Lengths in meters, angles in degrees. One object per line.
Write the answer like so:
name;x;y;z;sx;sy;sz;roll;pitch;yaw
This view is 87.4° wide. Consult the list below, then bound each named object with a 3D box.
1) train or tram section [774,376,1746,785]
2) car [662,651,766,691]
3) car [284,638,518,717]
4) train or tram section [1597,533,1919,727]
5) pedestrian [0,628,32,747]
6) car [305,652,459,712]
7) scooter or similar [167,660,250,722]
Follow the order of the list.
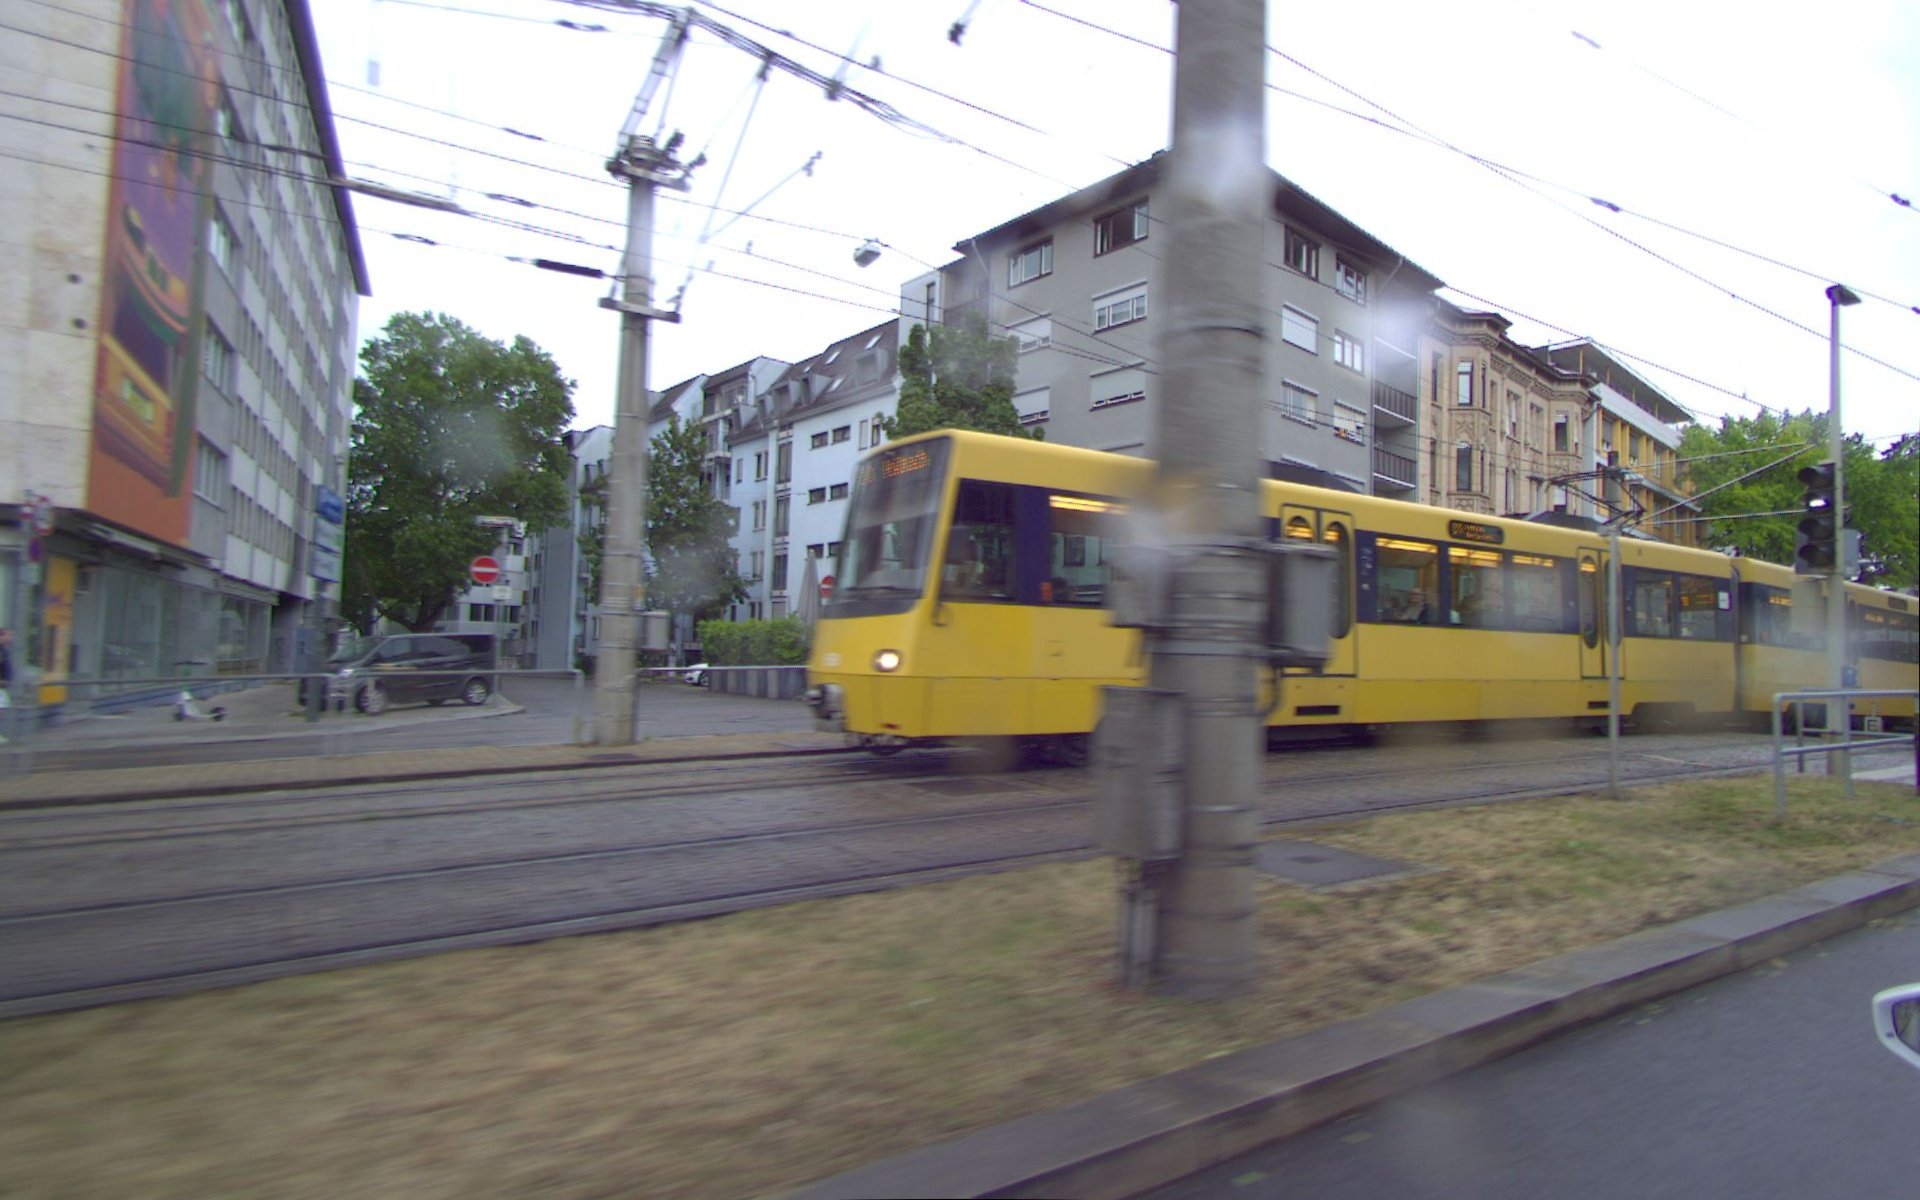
train or tram section;6.516;0.234;15.417;18.766;3.745;2.731;3;-3;-33
car;-10.307;2.955;42.121;3.945;1.527;1.981;0;-2;-25
car;-14.643;1.946;26.693;1.963;1.853;5.228;-1;-2;27
train or tram section;22.338;0.998;25.581;18.766;3.745;2.731;3;-3;-33
pedestrian;-14.555;1.306;14.992;0.899;1.761;0.593;1;-3;-32
car;-17.531;2.440;30.702;1.953;1.661;4.003;-1;-2;10
scooter or similar;-14.676;1.767;19.626;1.459;1.161;0.566;-1;-2;19
